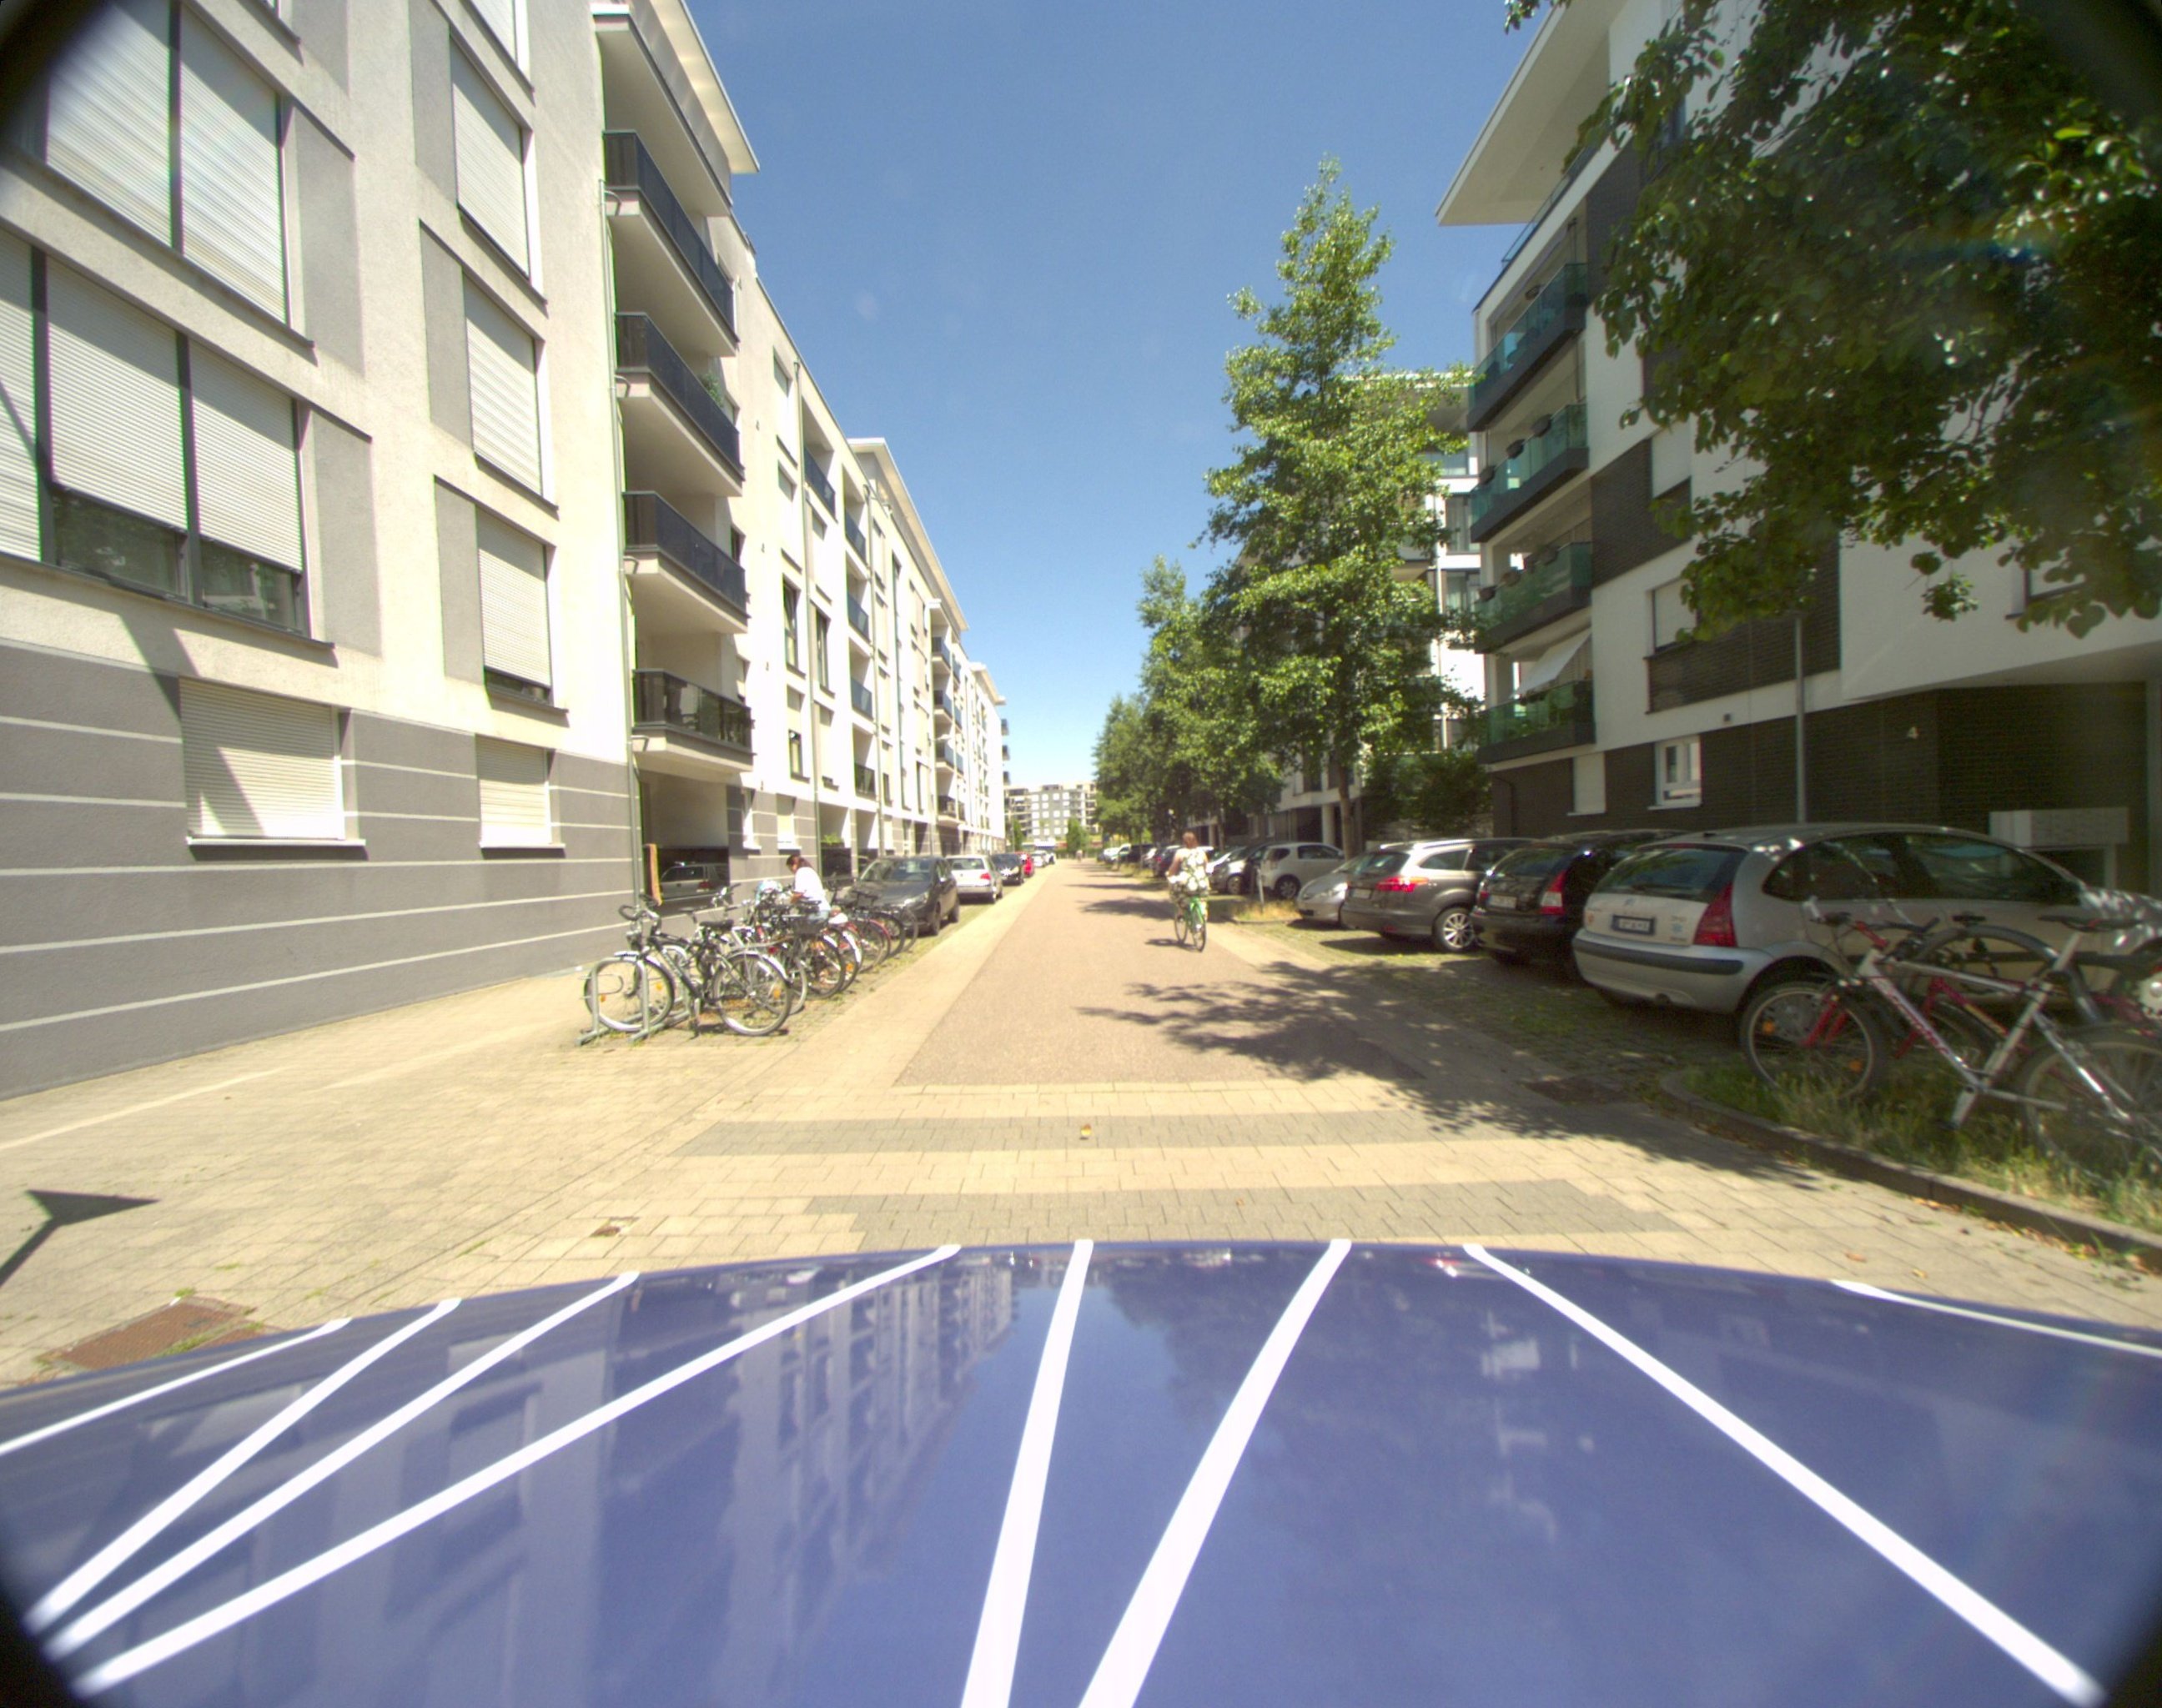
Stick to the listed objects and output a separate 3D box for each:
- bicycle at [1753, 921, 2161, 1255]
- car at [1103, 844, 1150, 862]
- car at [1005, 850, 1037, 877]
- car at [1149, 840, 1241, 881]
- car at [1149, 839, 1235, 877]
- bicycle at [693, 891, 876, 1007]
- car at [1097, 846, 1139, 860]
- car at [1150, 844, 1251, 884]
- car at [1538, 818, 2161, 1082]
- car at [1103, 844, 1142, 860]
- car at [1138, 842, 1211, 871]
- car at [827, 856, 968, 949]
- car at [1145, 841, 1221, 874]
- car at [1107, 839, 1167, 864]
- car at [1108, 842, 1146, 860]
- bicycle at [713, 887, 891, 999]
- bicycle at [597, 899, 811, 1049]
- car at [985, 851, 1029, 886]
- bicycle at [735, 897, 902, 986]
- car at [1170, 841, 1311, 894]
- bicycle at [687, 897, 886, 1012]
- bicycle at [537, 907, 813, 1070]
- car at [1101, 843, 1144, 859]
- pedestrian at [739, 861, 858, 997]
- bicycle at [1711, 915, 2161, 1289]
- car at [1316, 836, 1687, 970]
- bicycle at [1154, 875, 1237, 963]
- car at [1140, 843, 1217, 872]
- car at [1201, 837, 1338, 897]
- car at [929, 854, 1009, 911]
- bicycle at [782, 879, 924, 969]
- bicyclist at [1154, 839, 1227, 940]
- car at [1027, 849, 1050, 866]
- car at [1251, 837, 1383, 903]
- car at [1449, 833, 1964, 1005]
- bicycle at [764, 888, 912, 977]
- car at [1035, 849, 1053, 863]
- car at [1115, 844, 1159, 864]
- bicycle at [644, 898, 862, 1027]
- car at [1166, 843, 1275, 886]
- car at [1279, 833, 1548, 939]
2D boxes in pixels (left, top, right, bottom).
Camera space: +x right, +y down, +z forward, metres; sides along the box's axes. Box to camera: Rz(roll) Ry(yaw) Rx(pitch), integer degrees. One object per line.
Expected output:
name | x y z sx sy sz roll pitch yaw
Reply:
bicycle | 4.203 0.953 3.352 0.435 1.121 1.976 -2 1 -13
car | 4.796 -0.141 80.403 4.571 1.585 1.965 -4 1 -6
car | -3.472 0.535 44.367 1.599 1.477 3.675 0 1 0
car | 5.330 0.294 35.895 3.997 1.641 1.918 -3 1 1
car | 5.549 0.194 38.421 3.997 1.620 1.933 -4 1 -1
bicycle | -3.297 1.035 8.570 1.841 1.142 0.460 -1 1 -19
car | 4.771 -0.106 98.041 5.113 1.476 1.927 -3 1 -3
car | 5.188 0.401 33.247 3.986 1.437 1.774 -4 1 -4
car | 5.916 0.606 5.851 3.639 1.512 1.831 -4 1 -1
car | 4.919 -0.243 90.260 4.263 1.522 1.822 -4 1 -4
car | 5.924 0.137 48.341 4.263 1.509 1.924 -4 1 -1
car | -3.398 0.827 14.897 1.743 1.476 4.228 -1 1 -1
car | 5.796 0.181 43.333 3.997 1.582 1.883 -4 1 0
car | 5.135 -0.269 70.227 5.355 2.098 2.187 -2 1 1
car | 5.037 -0.316 83.033 3.990 1.620 1.949 -4 1 1
bicycle | -3.316 1.045 9.153 1.930 1.211 0.460 -1 1 -10
bicycle | -3.376 1.053 6.916 1.555 1.211 0.707 -1 1 -2
car | -3.322 0.628 34.601 1.647 1.454 4.116 -1 1 -1
bicycle | -3.355 1.113 9.816 1.929 1.029 0.559 -1 1 -4
car | 5.427 0.440 26.238 4.373 1.700 1.999 0 1 -3
bicycle | -3.159 1.062 8.206 1.927 1.127 0.609 -1 1 8
bicycle | -3.259 1.069 6.208 1.864 1.186 0.687 -1 1 2
car | 5.065 -0.348 92.980 5.042 1.623 2.041 -3 0 -3
pedestrian | -3.321 0.856 9.022 1.182 1.506 0.687 -1 1 -10
bicycle | 3.841 0.937 3.320 0.372 1.173 1.818 -2 1 -13
car | 5.764 0.592 10.768 4.192 1.478 1.957 -3 2 -4
bicycle | 1.699 0.936 11.640 0.901 1.122 2.039 -2 1 -1
car | 5.825 0.192 45.895 4.327 1.467 1.792 -4 1 -1
car | 5.853 0.382 23.826 3.719 1.577 1.819 -4 1 -6
car | -3.308 0.793 23.215 1.839 1.496 4.349 -1 1 -1
bicycle | -3.333 1.017 11.255 1.875 1.211 0.715 -1 1 -4
bicyclist | 1.653 0.524 11.596 0.956 1.451 0.799 -2 1 -1
car | -3.923 0.333 71.065 1.850 1.408 4.425 -2 1 0
car | 6.390 0.408 20.829 2.940 1.491 1.848 -5 1 -2
car | 6.378 0.614 8.130 3.996 1.546 1.800 -1 1 1
bicycle | -3.313 1.058 10.510 1.791 1.098 0.746 -1 1 -4
car | -3.923 0.187 80.076 1.812 1.496 4.259 -1 1 -3
car | 4.961 -0.014 67.438 3.633 1.473 1.677 -4 1 -1
bicycle | -3.252 1.056 7.600 1.927 1.172 0.638 -1 1 8
car | 5.597 0.422 30.778 3.997 1.414 1.897 -4 1 0
car | 5.828 0.527 13.663 3.948 1.544 1.872 -4 1 -1
